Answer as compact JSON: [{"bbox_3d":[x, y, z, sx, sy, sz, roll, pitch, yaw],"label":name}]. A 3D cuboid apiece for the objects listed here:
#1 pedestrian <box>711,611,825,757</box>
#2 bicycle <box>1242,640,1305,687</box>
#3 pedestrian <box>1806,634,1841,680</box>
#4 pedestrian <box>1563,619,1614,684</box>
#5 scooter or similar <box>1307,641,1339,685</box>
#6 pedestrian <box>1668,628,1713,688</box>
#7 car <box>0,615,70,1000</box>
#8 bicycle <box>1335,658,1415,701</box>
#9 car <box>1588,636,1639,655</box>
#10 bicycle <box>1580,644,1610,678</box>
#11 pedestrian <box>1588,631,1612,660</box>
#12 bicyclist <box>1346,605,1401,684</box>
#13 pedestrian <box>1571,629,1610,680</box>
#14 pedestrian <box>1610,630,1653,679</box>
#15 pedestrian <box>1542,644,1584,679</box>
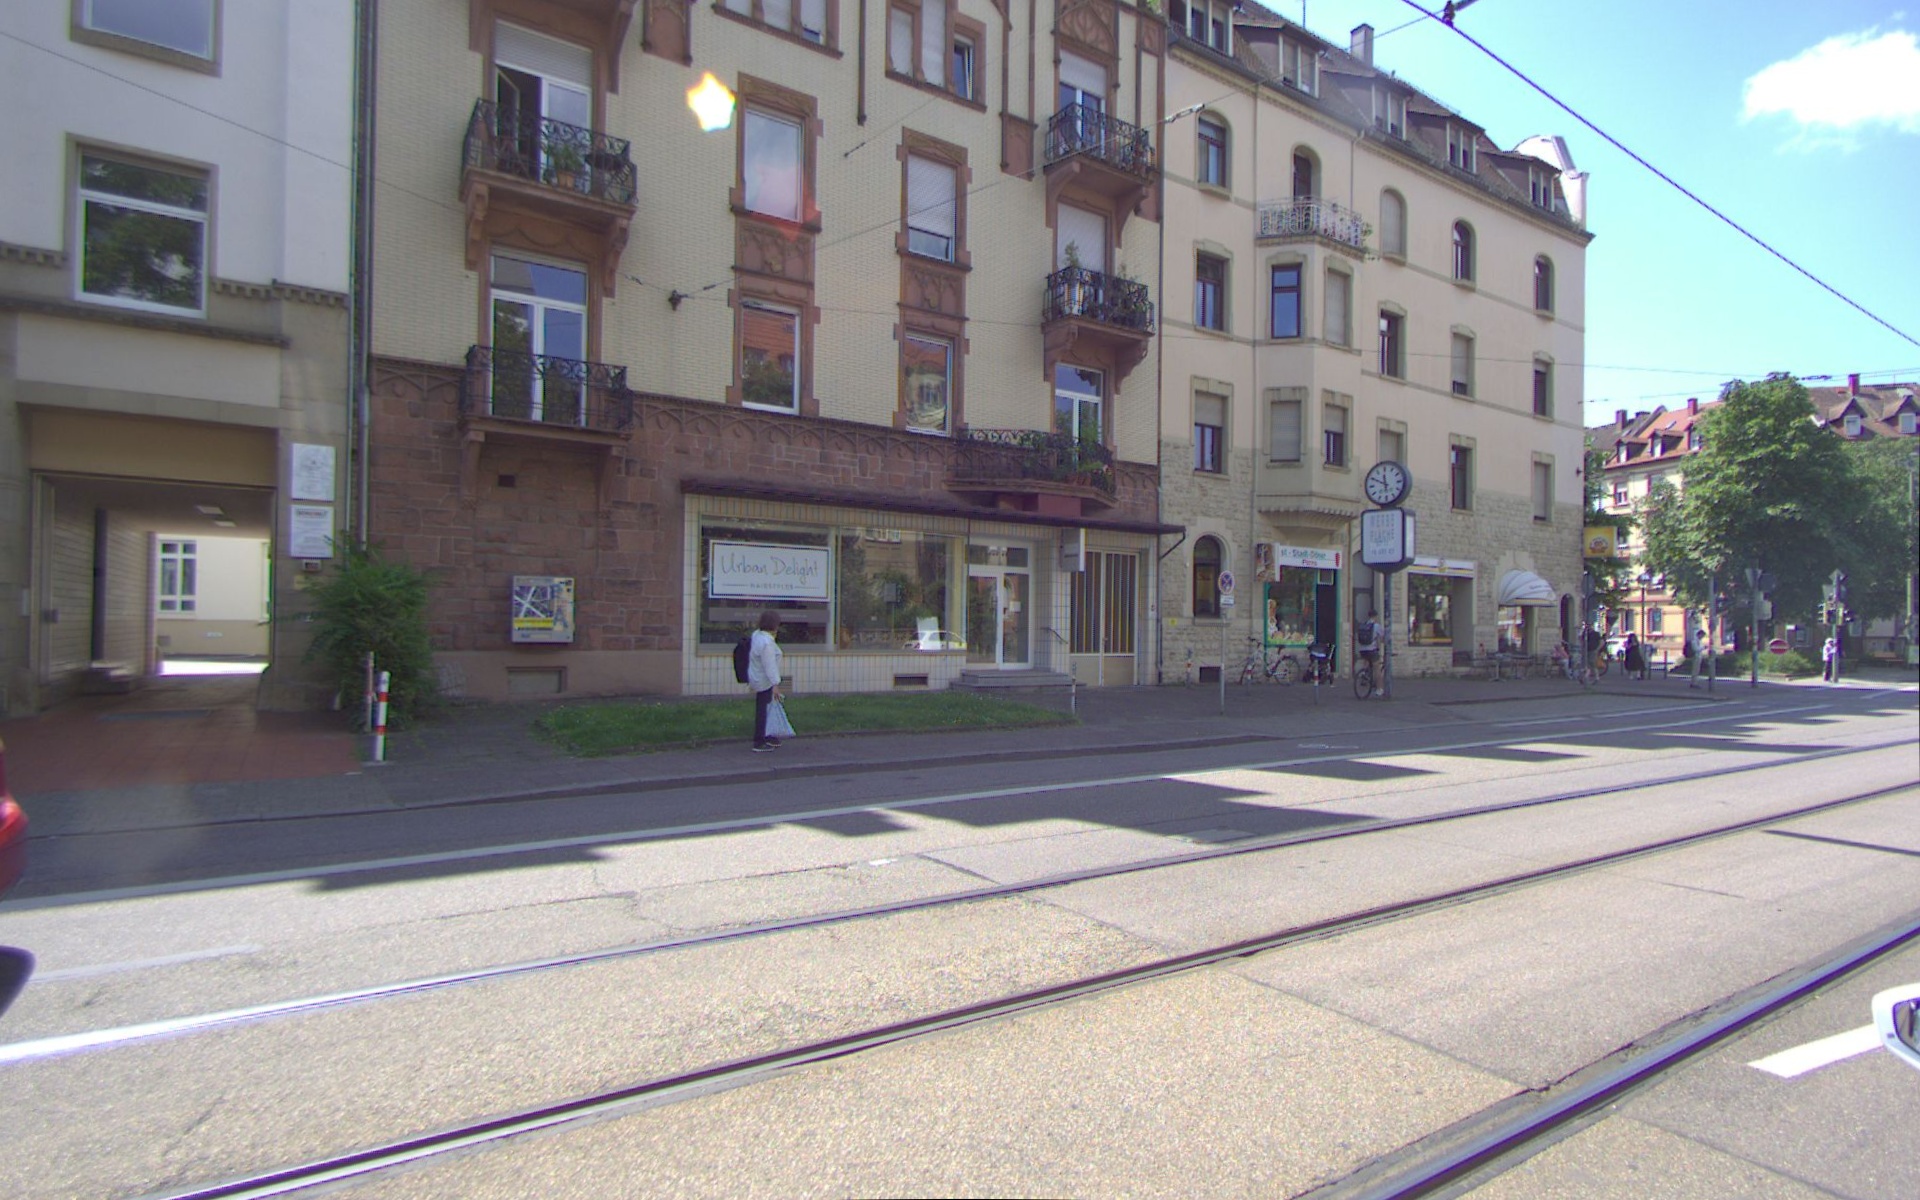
[{"bbox_3d":[-2.186,0.920,11.430,0.975,1.563,0.894,2,-2,-37],"label":"pedestrian"},{"bbox_3d":[7.747,1.570,24.796,1.439,1.080,0.370,3,-1,-10],"label":"bicycle"},{"bbox_3d":[34.122,2.237,39.698,0.825,1.745,0.918,0,-1,27],"label":"pedestrian"},{"bbox_3d":[19.014,1.553,30.387,1.152,1.916,0.895,2,-1,-34],"label":"pedestrian"},{"bbox_3d":[9.456,1.626,26.173,0.682,1.058,1.210,2,0,16],"label":"scooter or similar"},{"bbox_3d":[22.365,1.764,30.754,0.767,1.755,0.855,2,0,-31],"label":"pedestrian"},{"bbox_3d":[-5.649,0.742,2.903,4.386,1.432,1.811,2,-3,-36],"label":"car"},{"bbox_3d":[9.107,1.722,22.039,1.802,0.828,0.747,2,1,-35],"label":"bicycle"},{"bbox_3d":[53.824,3.736,82.812,1.654,1.491,3.467,1,-1,-8],"label":"car"},{"bbox_3d":[22.481,2.162,35.590,0.534,1.143,1.683,1,-3,20],"label":"bicycle"},{"bbox_3d":[42.866,3.025,67.236,1.004,1.893,0.996,2,-1,-27],"label":"pedestrian"},{"bbox_3d":[9.049,0.966,21.979,0.824,1.685,0.750,2,0,-38],"label":"bicyclist"},{"bbox_3d":[20.695,1.784,32.990,0.910,1.616,0.801,2,-2,-35],"label":"pedestrian"},{"bbox_3d":[23.382,1.897,34.993,0.846,1.657,1.027,1,-1,4],"label":"pedestrian"},{"bbox_3d":[19.886,2.014,33.127,0.873,1.092,0.911,2,-2,-32],"label":"pedestrian"}]
